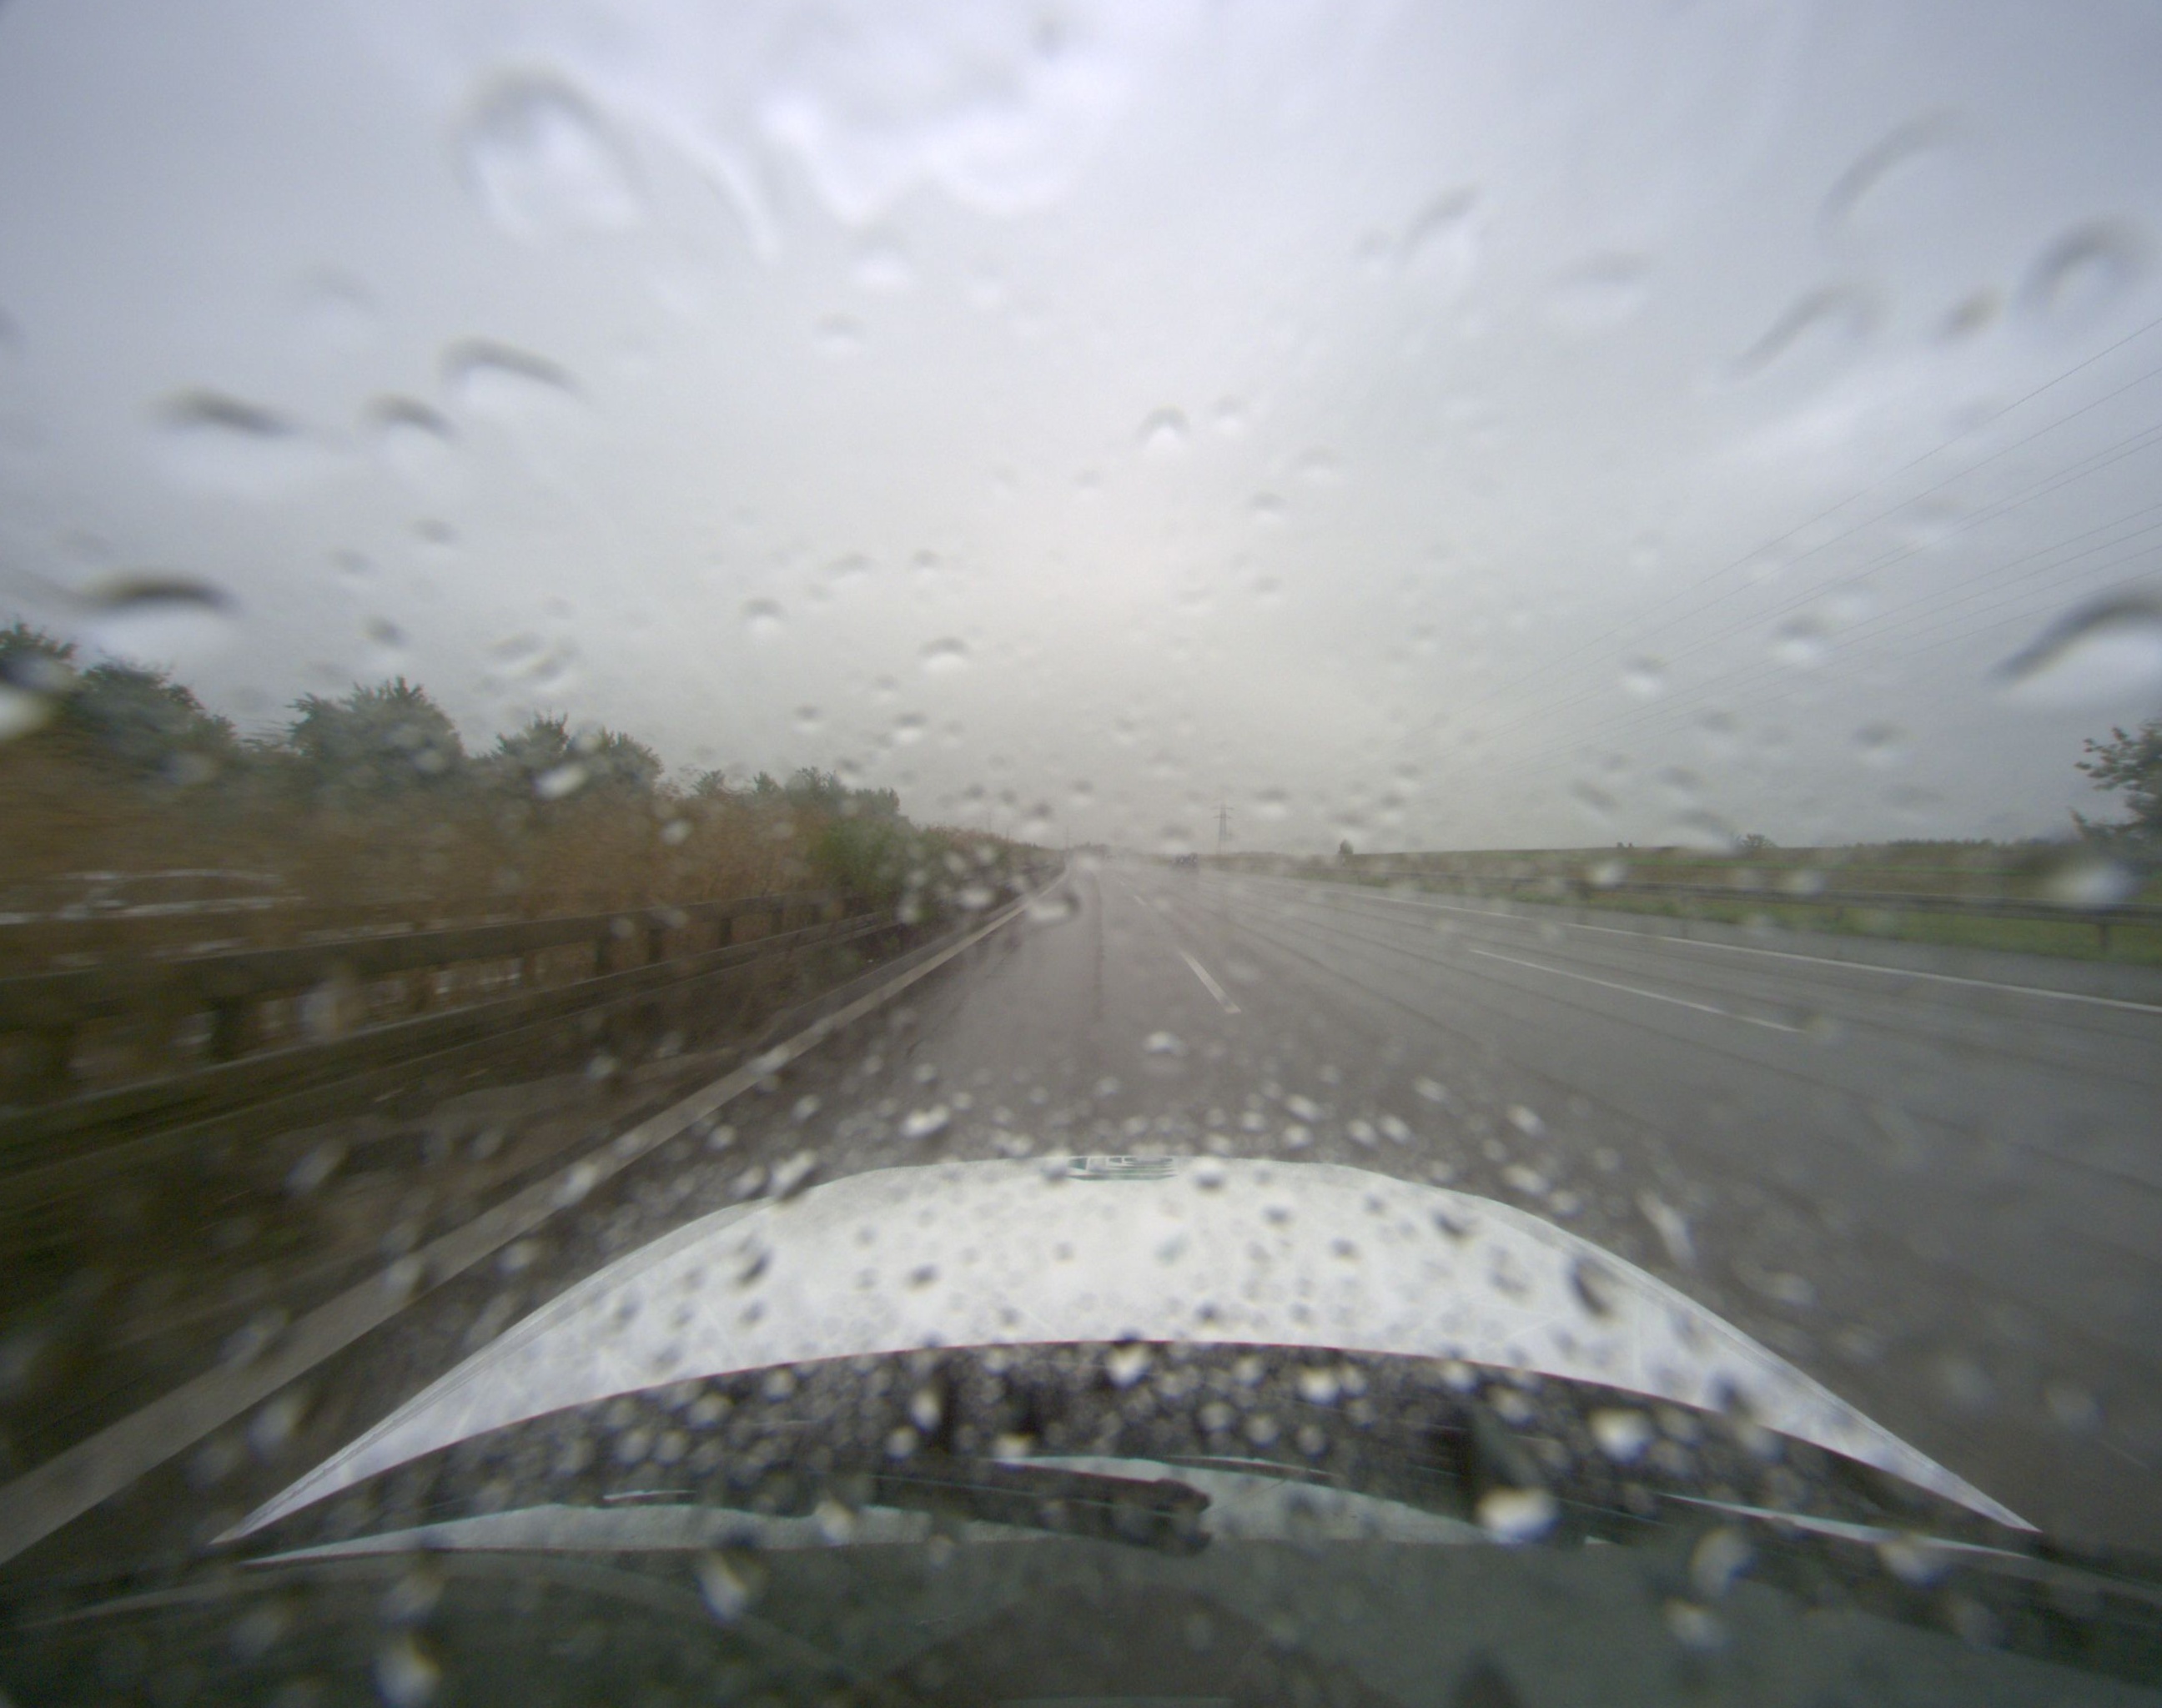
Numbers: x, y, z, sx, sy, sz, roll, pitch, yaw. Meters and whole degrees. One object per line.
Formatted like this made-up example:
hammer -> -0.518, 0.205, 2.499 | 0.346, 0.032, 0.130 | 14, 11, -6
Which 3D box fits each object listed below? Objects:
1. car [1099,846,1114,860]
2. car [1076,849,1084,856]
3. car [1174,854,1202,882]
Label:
car -> 5.924, -0.260, 189.246 | 3.190, 3.193, 7.255 | -1, 0, 0
car -> -0.207, -0.500, 261.347 | 2.549, 2.248, 5.350 | -1, 0, -1
car -> 8.704, 1.103, 66.434 | 1.800, 2.158, 4.001 | -1, 0, 1
